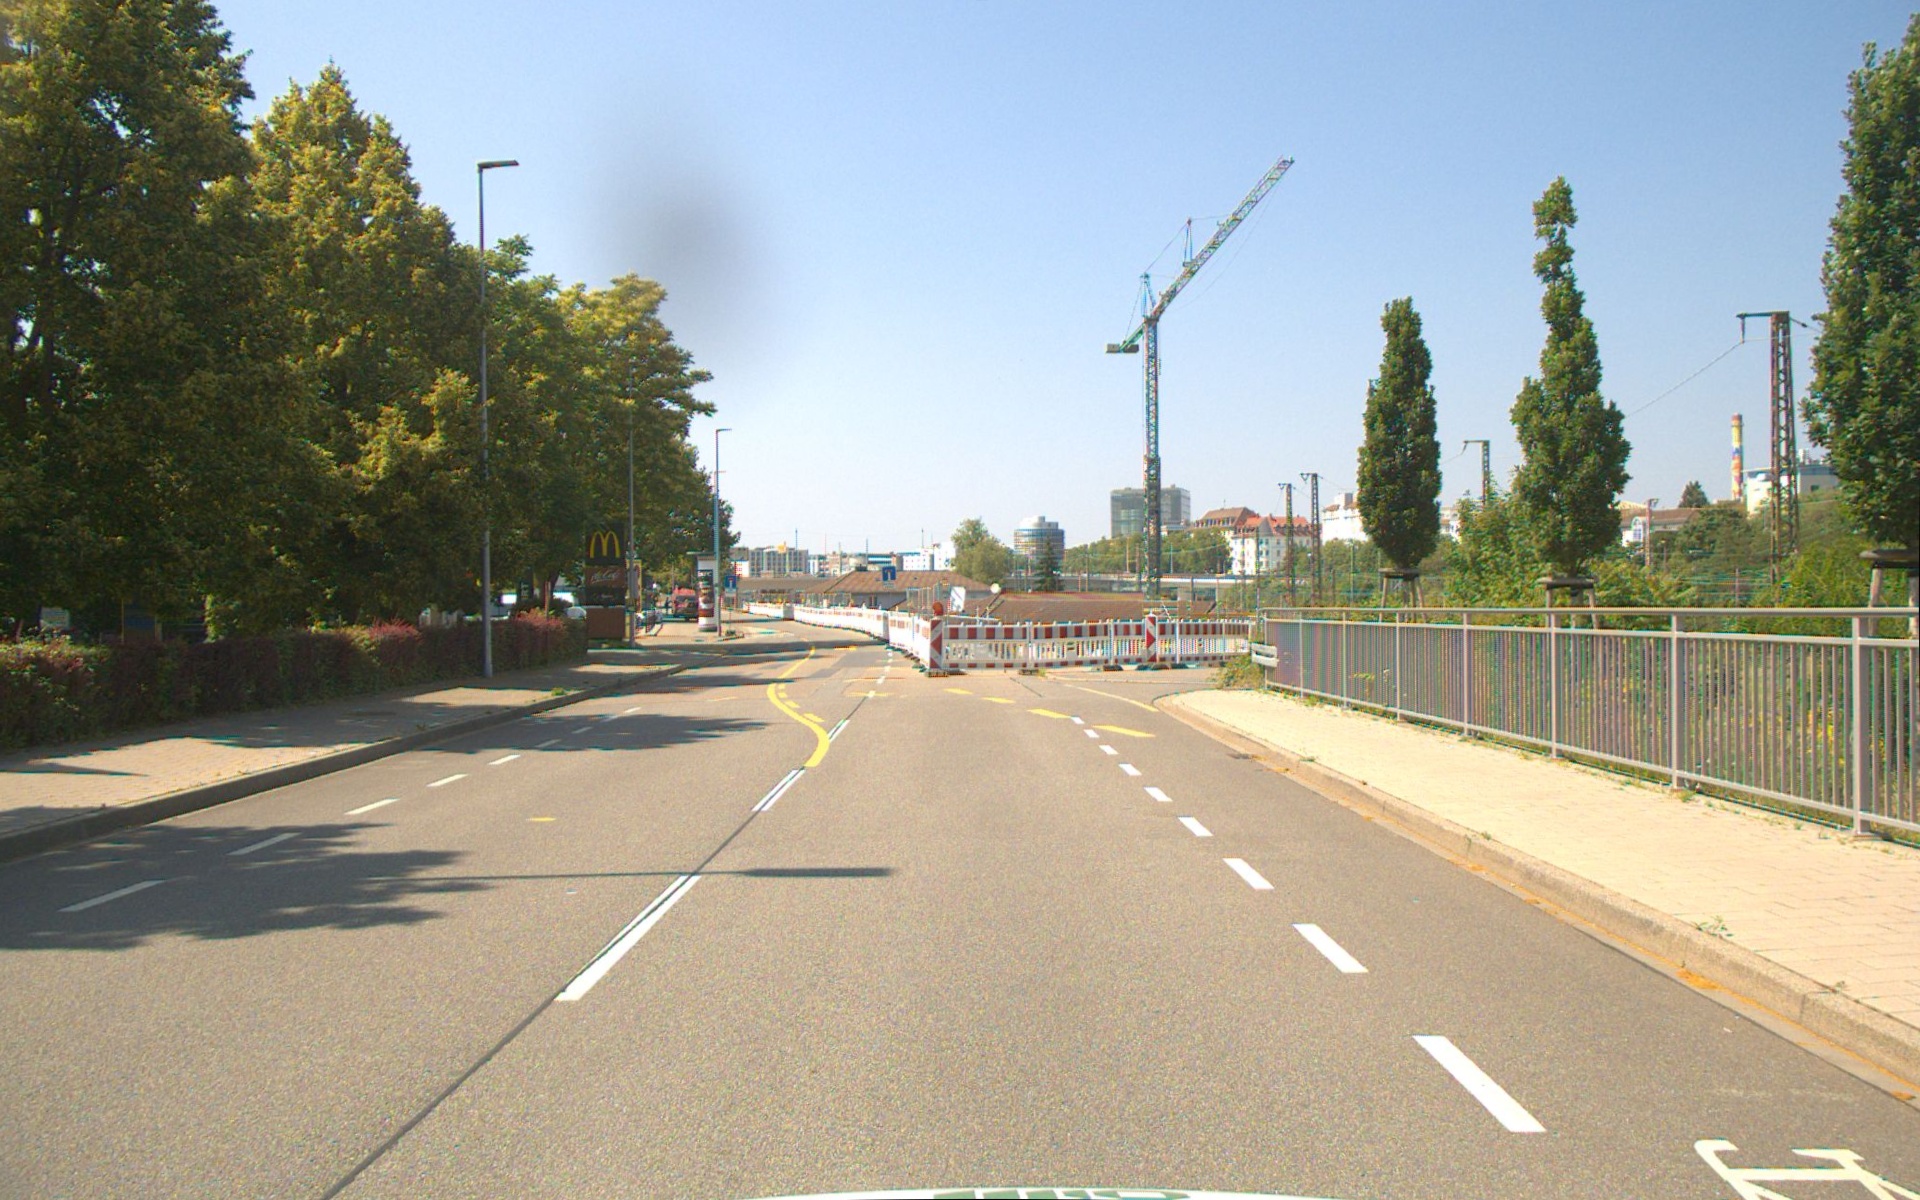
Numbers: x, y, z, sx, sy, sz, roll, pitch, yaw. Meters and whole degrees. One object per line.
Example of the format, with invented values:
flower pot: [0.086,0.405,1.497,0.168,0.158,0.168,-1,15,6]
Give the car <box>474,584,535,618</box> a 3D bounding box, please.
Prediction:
car: [-26.821,0.055,97.319,1.982,1.937,3.941,0,0,-40]

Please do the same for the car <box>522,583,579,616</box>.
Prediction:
car: [-25.045,0.001,101.140,1.812,1.963,3.941,0,0,-40]
